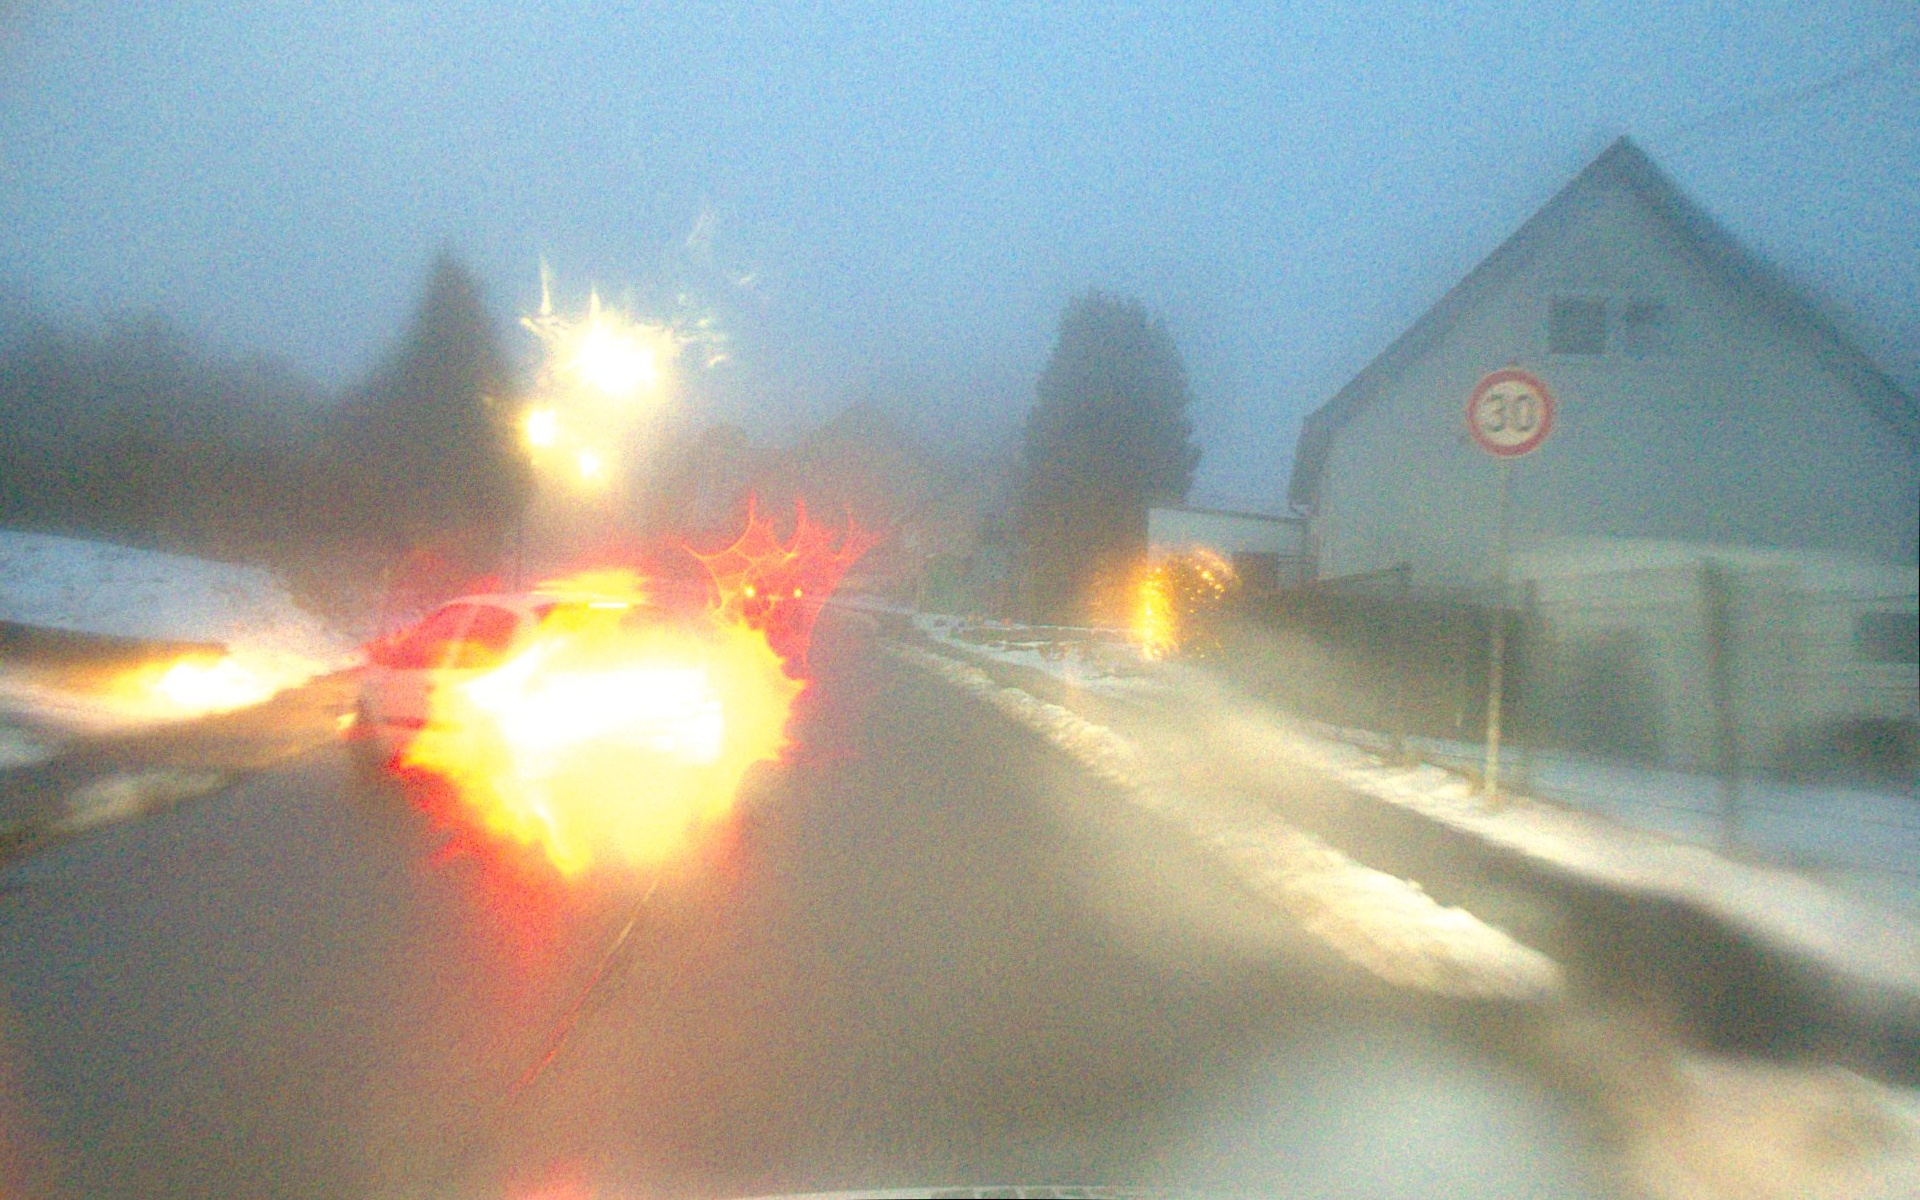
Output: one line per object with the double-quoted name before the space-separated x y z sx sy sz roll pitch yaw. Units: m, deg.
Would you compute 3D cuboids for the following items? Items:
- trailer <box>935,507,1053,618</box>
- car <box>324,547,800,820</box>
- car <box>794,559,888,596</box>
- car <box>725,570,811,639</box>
"trailer" 1.128 -1.291 58.314 2.826 3.622 5.044 3 0 -14
"car" -3.045 0.476 12.092 1.884 1.637 3.945 2 0 -38
"car" -5.415 -1.014 75.300 4.159 1.586 1.998 1 -1 -5
"car" -5.266 0.169 45.037 1.958 1.767 3.866 1 -1 -12
